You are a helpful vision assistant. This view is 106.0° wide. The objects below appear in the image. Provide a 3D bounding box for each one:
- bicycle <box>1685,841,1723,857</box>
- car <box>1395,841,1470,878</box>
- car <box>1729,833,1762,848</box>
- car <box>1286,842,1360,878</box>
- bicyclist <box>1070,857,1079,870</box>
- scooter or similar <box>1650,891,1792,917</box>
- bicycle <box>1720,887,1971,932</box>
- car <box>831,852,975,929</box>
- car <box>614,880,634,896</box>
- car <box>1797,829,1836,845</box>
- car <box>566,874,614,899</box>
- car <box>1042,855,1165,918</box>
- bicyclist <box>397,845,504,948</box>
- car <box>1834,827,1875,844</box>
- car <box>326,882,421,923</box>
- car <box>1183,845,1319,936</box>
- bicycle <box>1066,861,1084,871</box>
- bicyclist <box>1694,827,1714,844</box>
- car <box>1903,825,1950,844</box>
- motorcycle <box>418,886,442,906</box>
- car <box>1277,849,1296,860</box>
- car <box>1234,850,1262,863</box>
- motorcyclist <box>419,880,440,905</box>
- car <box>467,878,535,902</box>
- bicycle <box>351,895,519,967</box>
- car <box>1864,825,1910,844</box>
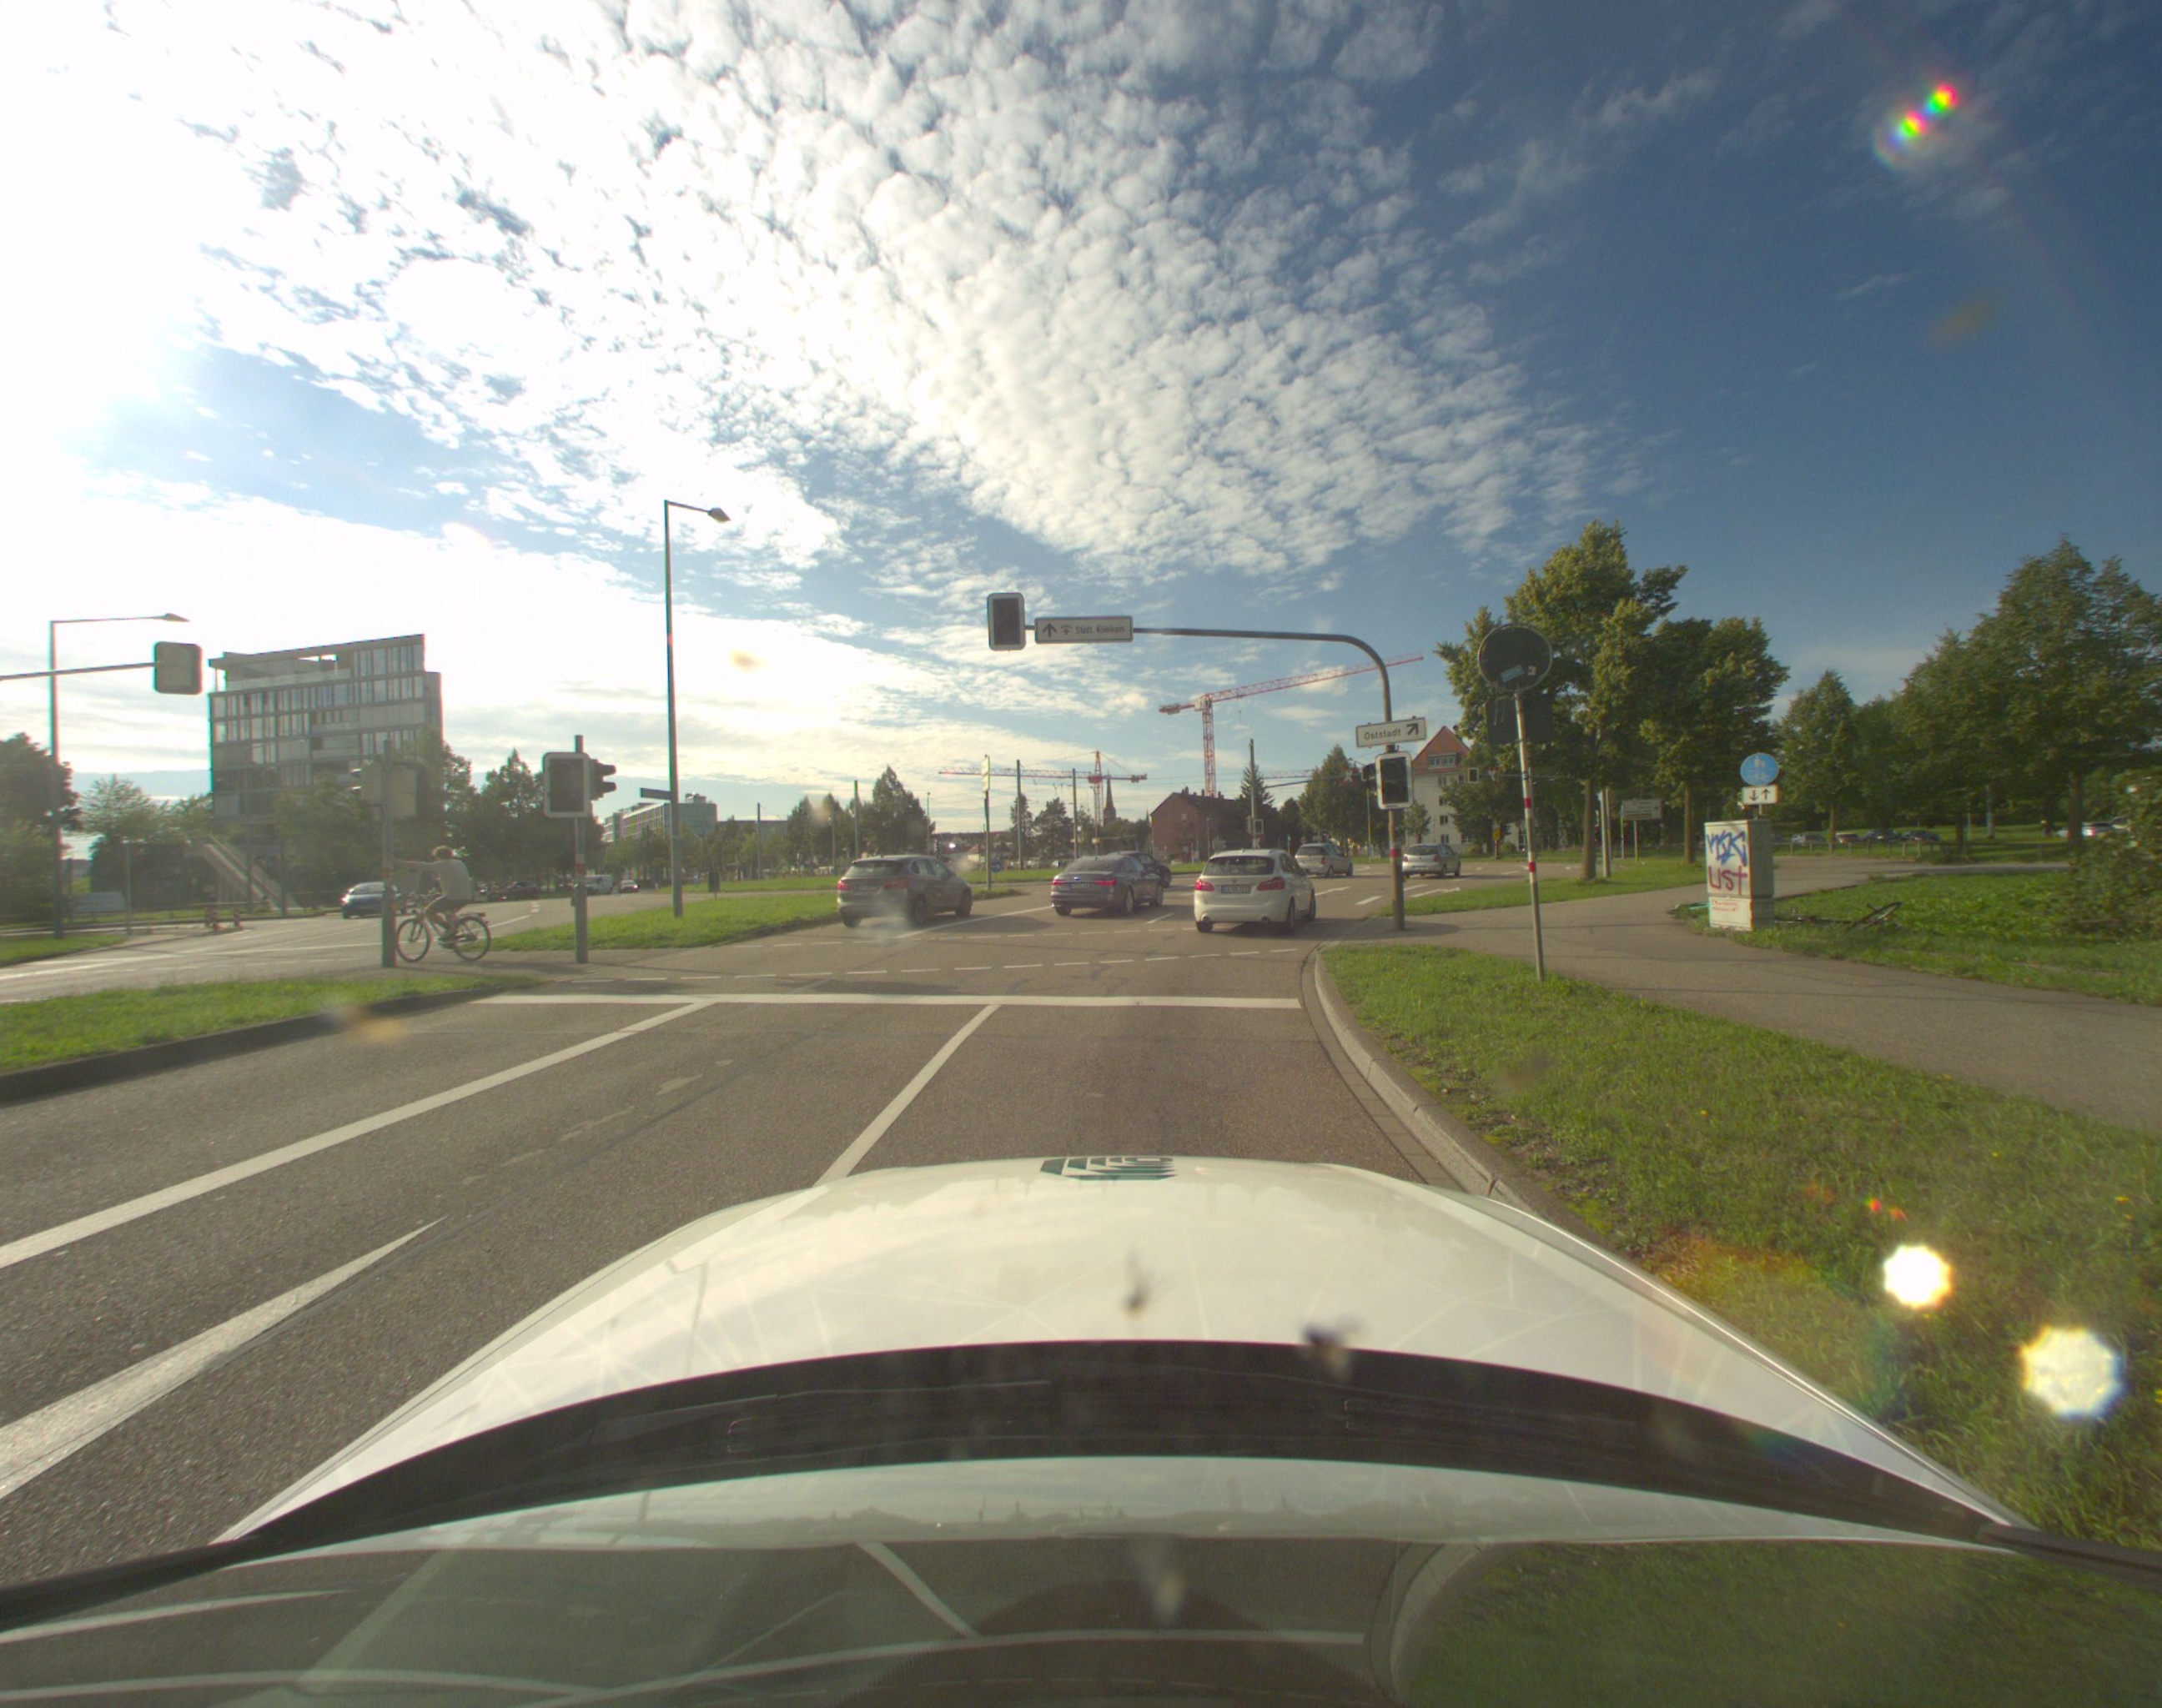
[{"bbox_3d":[50.422,-0.383,65.928,2.511,1.222,0.714,-2,-1,1],"label":"bicycle"},{"bbox_3d":[14.978,0.215,34.555,1.832,1.426,4.483,-2,0,38],"label":"car"},{"bbox_3d":[63.191,-1.284,77.530,1.837,1.359,4.764,-3,-1,33],"label":"car"},{"bbox_3d":[11.190,0.254,37.480,1.832,1.478,4.484,-1,1,37],"label":"car"},{"bbox_3d":[-0.823,1.190,105.267,0.950,1.575,0.775,-3,0,13],"label":"bicyclist"},{"bbox_3d":[10.712,0.825,13.668,1.555,0.281,1.283,-2,0,-23],"label":"scooter or similar"},{"bbox_3d":[10.020,0.702,10.778,1.094,0.346,2.228,-1,2,-32],"label":"bicycle"},{"bbox_3d":[-3.995,0.777,18.985,1.756,1.572,4.079,-1,0,11],"label":"car"},{"bbox_3d":[-47.382,3.486,84.402,1.691,1.501,3.956,-4,0,-30],"label":"car"},{"bbox_3d":[67.883,-1.584,75.189,1.837,1.358,4.865,-3,-1,33],"label":"car"},{"bbox_3d":[-41.254,2.723,68.482,1.679,1.824,4.548,-4,0,-8],"label":"car"},{"bbox_3d":[0.746,0.769,21.268,1.835,1.445,4.738,-1,0,19],"label":"car"},{"bbox_3d":[-10.094,0.661,13.077,0.858,1.556,0.999,-2,-1,6],"label":"bicyclist"},{"bbox_3d":[69.956,-1.674,73.739,1.837,1.363,4.497,-3,-1,33],"label":"car"},{"bbox_3d":[-30.537,2.040,35.293,1.785,1.501,3.965,-4,0,-21],"label":"car"},{"bbox_3d":[3.594,0.652,16.542,1.834,1.572,4.479,-1,0,23],"label":"car"},{"bbox_3d":[-0.794,1.567,105.261,2.128,1.137,0.775,-3,0,13],"label":"bicycle"},{"bbox_3d":[50.316,-1.473,65.751,0.998,1.355,0.714,-2,-1,1],"label":"bicyclist"},{"bbox_3d":[73.962,-1.714,71.303,1.837,1.515,4.497,-3,-1,33],"label":"car"},{"bbox_3d":[-36.394,2.334,45.509,1.998,0.986,0.789,-1,1,43],"label":"motorcycle"},{"bbox_3d":[36.312,0.114,144.101,1.877,1.903,4.690,-1,-1,32],"label":"car"},{"bbox_3d":[25.325,0.374,123.517,1.878,1.903,4.689,-2,-1,43],"label":"car"},{"bbox_3d":[-36.338,2.134,45.419,0.931,1.366,0.789,-3,-1,44],"label":"motorcyclist"},{"bbox_3d":[-41.221,2.532,57.972,1.755,1.420,4.005,-2,0,4],"label":"car"},{"bbox_3d":[-10.357,1.217,13.109,1.945,1.007,1.004,-2,-1,6],"label":"bicycle"},{"bbox_3d":[71.650,-1.731,72.464,1.837,1.515,4.977,-3,-1,33],"label":"car"}]
